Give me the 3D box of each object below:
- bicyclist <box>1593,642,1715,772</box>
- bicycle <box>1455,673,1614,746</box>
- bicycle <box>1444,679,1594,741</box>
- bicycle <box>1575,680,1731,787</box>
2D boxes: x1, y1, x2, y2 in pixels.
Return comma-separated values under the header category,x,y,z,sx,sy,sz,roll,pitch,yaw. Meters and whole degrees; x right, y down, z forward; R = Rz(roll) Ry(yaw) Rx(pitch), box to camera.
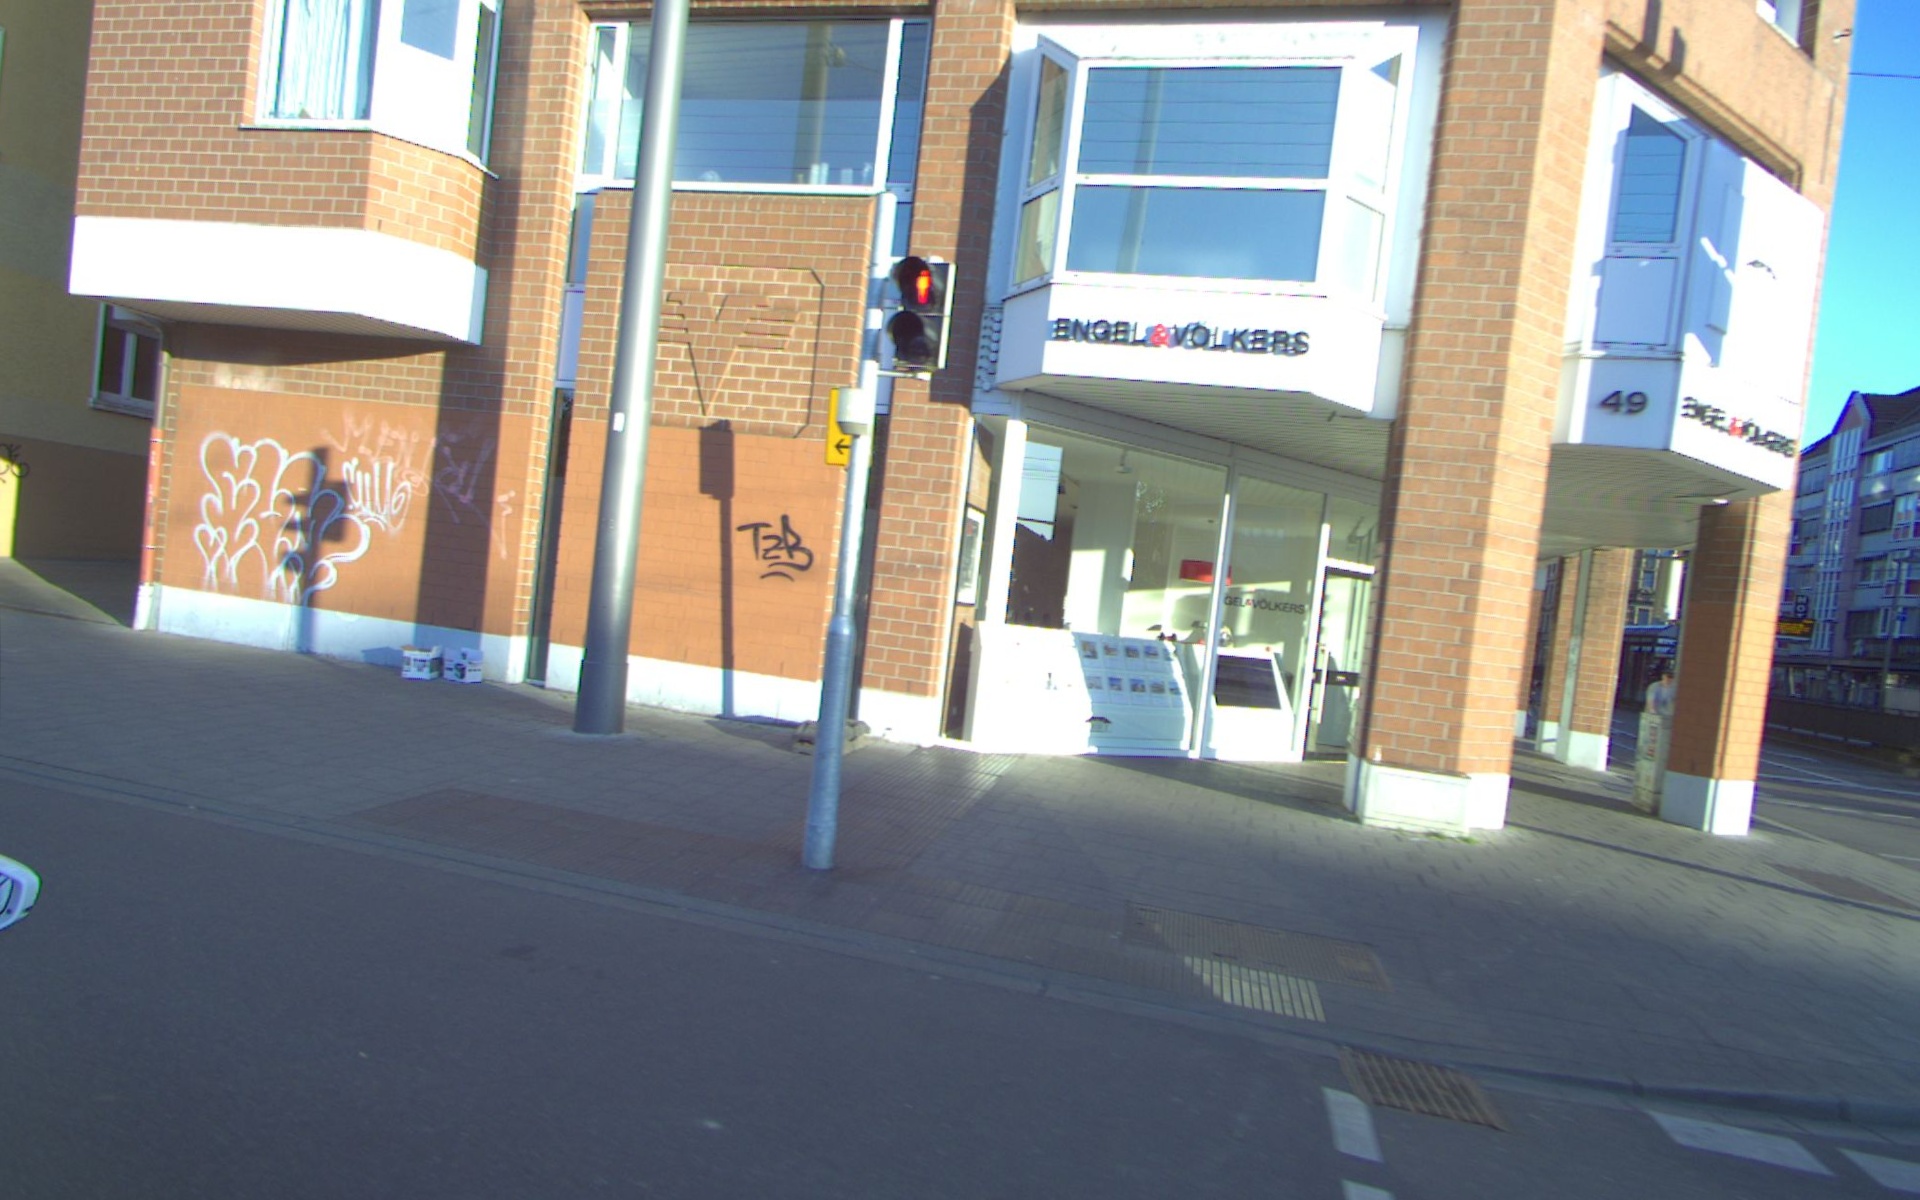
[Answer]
category,x,y,z,sx,sy,sz,roll,pitch,yaw
bicyclist,11.352,1.706,16.517,0.995,1.884,1.234,10,2,14
bicycle,12.018,2.275,21.148,2.688,1.116,0.812,7,1,18
bicycle,12.203,2.384,22.074,2.688,0.984,0.813,6,0,18
bicycle,11.266,2.120,16.520,0.998,1.307,2.797,10,1,14
